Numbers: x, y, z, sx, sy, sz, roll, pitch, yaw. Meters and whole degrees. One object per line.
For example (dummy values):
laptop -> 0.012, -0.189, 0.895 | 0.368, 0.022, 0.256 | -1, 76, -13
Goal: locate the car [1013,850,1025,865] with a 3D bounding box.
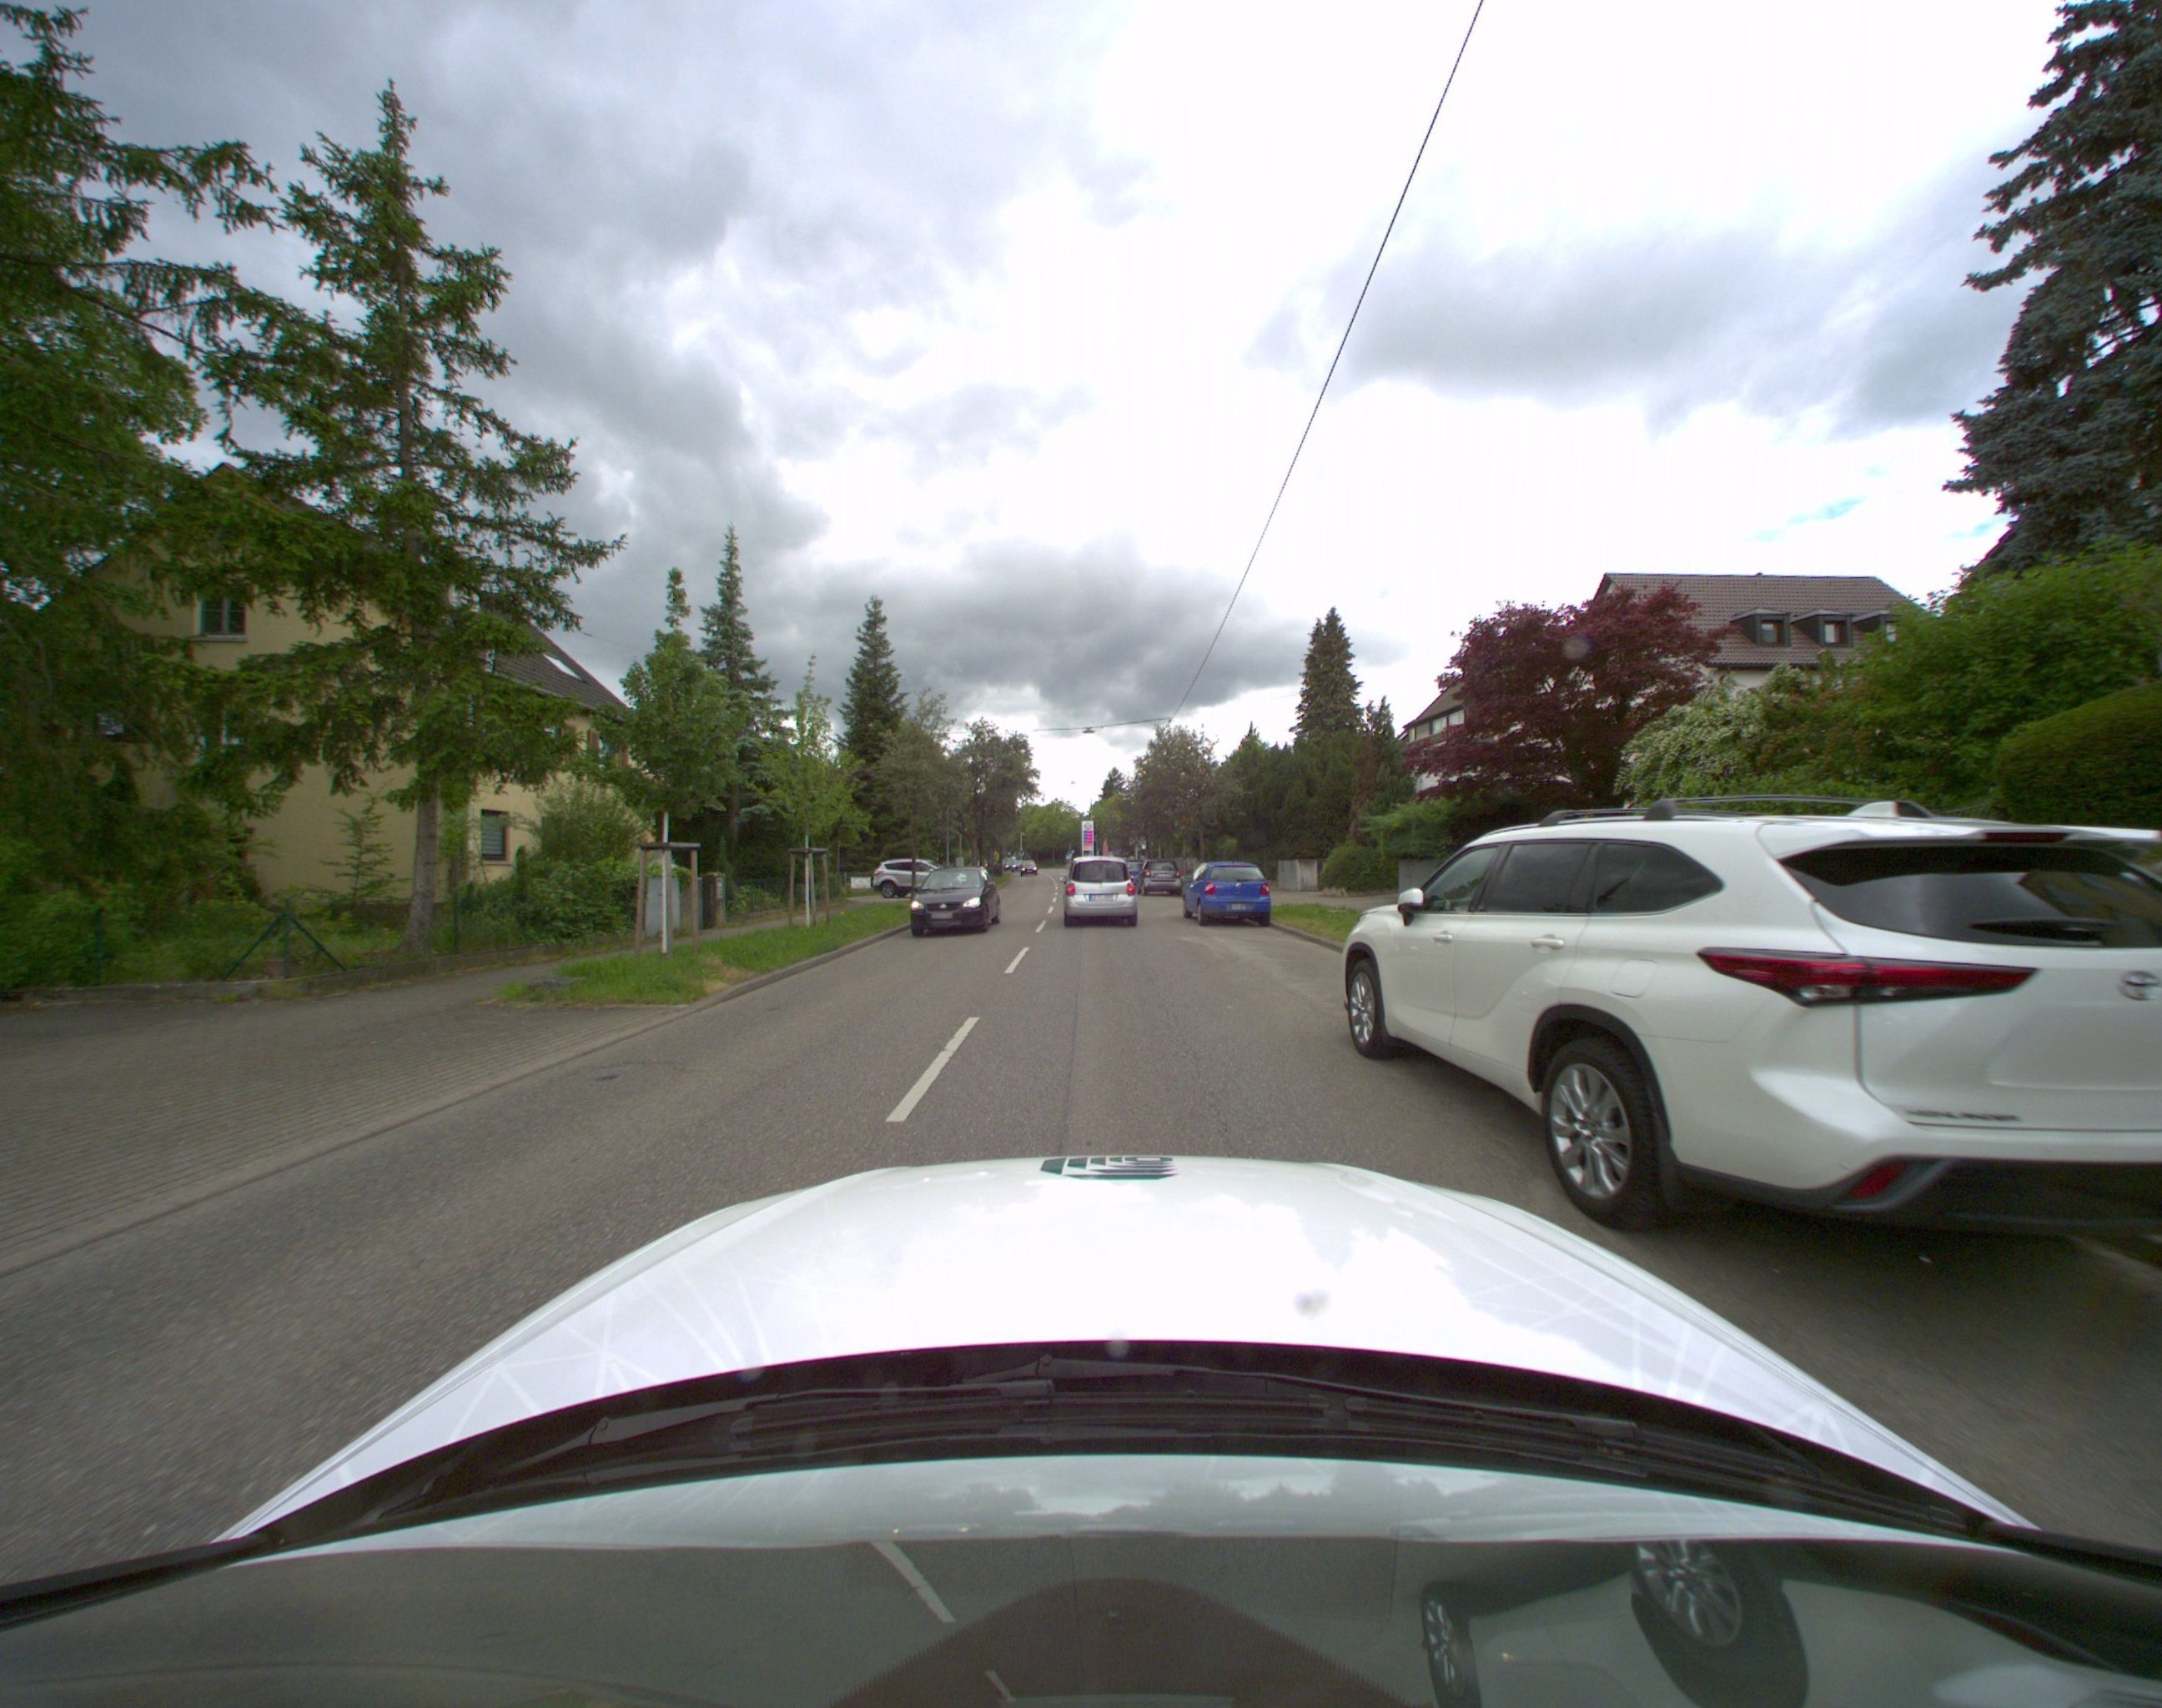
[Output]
car -> -10.281, 0.630, 134.312 | 1.931, 2.408, 3.994 | -1, 0, -4

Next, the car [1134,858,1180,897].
car -> 3.270, 0.980, 35.572 | 1.689, 1.557, 3.956 | 0, 0, 1

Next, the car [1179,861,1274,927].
car -> 3.467, 0.908, 19.996 | 1.622, 1.452, 3.874 | 1, -1, -1

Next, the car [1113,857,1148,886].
car -> 2.760, 0.958, 46.533 | 1.690, 1.570, 3.954 | -1, 0, -1

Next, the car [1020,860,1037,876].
car -> -5.179, 1.373, 80.564 | 1.541, 1.470, 3.737 | -2, -1, -3

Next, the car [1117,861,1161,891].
car -> 2.852, 1.064, 40.932 | 1.692, 1.433, 4.335 | -1, -1, -2

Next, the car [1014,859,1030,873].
car -> -7.445, 1.506, 102.966 | 1.790, 1.555, 3.667 | -3, 0, -4

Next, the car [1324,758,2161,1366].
car -> 3.027, 0.630, 4.763 | 1.793, 1.778, 4.703 | 0, 0, 0

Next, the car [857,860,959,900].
car -> -7.673, 1.140, 36.268 | 4.066, 1.706, 1.750 | -1, -1, 5

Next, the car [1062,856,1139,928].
car -> 0.453, 0.841, 19.422 | 1.673, 1.560, 3.512 | 0, -1, 1

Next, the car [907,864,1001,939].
car -> -2.811, 1.013, 18.675 | 1.570, 1.472, 3.469 | -3, -1, -1

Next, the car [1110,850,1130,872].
car -> 5.297, 0.921, 112.246 | 2.276, 2.911, 5.274 | 1, -1, -2
